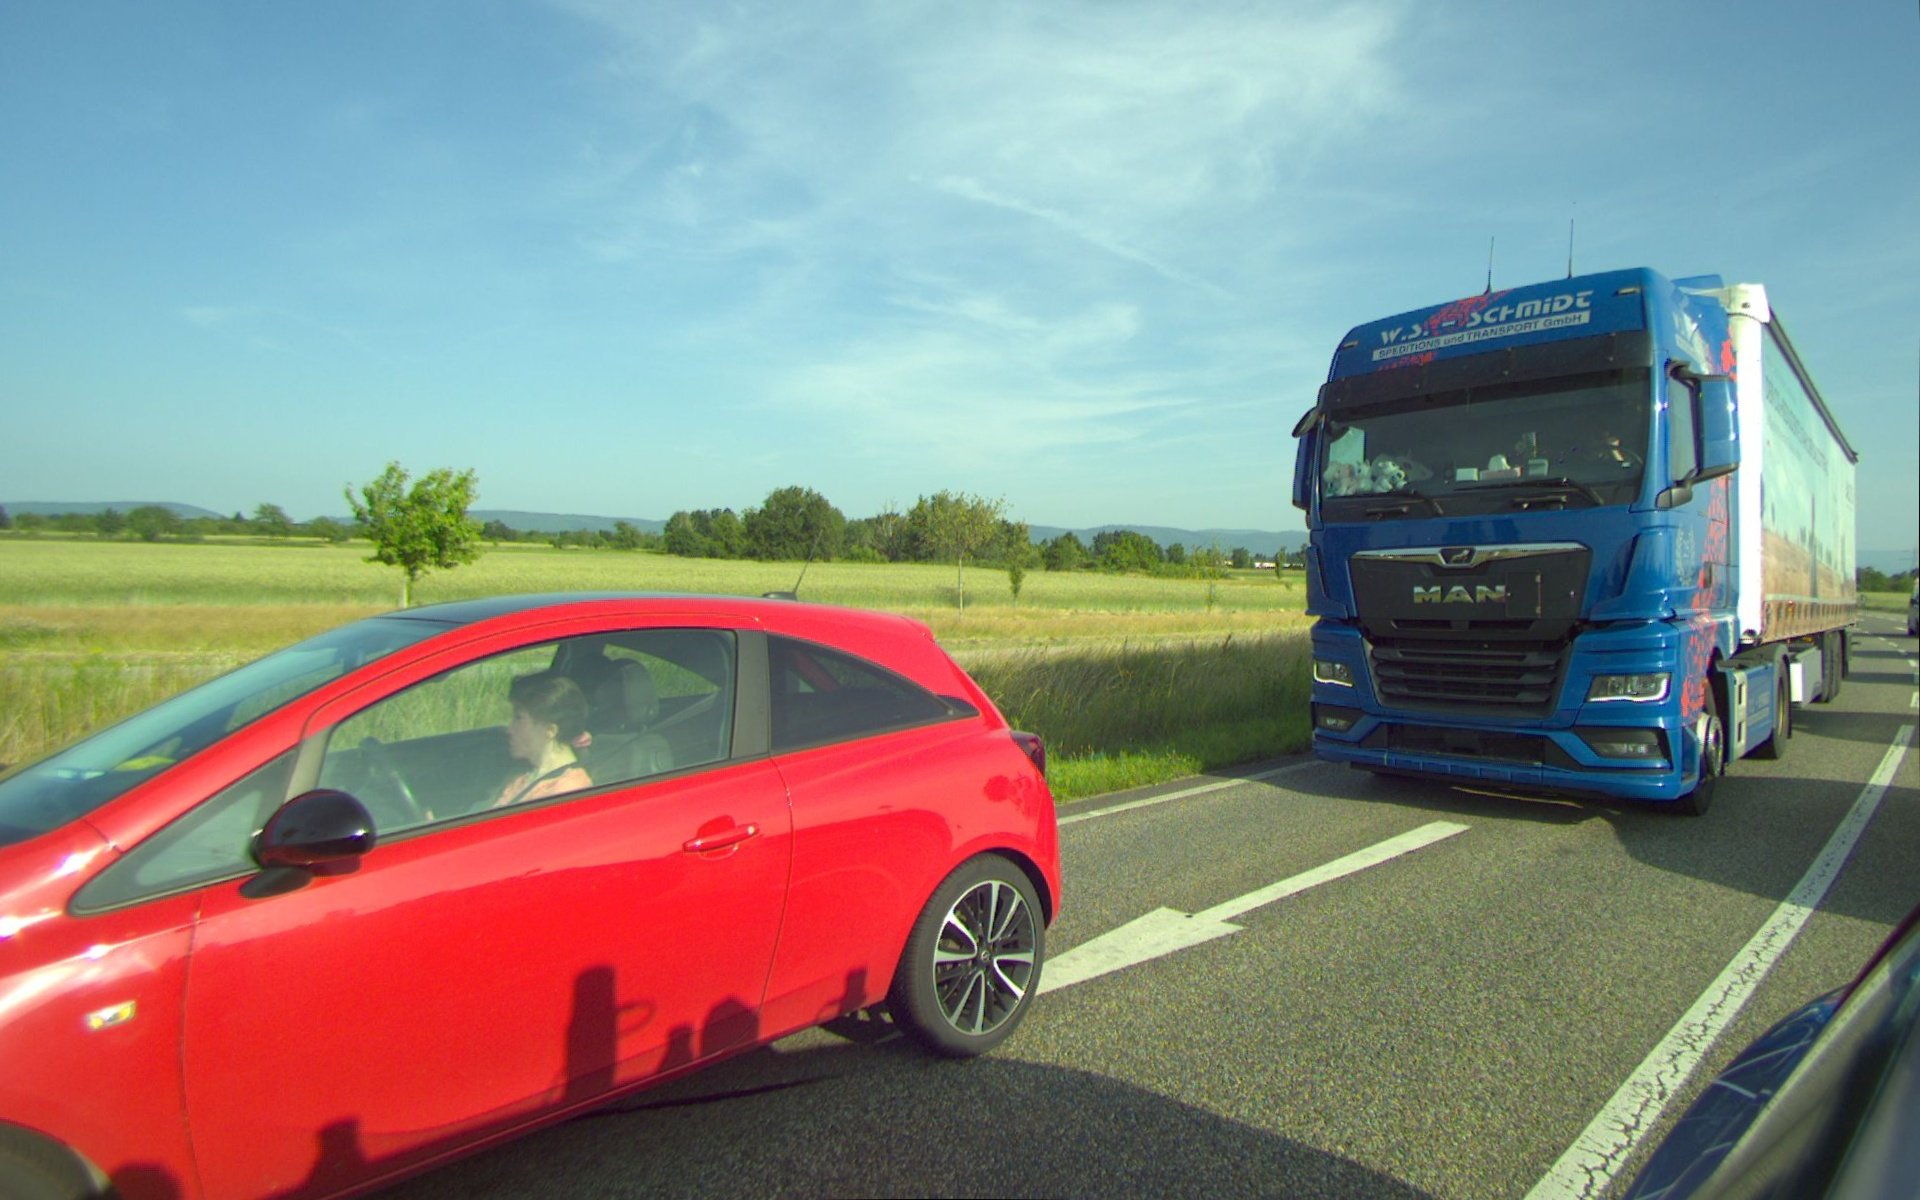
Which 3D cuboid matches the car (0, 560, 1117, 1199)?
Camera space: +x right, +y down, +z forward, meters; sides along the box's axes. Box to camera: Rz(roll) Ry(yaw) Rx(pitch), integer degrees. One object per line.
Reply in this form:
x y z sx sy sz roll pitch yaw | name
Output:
-1.401 0.658 2.893 3.890 1.482 1.662 0 1 -44 | car

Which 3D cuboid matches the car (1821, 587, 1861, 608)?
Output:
68.199 -0.222 78.388 1.989 1.553 3.947 1 1 37 | car

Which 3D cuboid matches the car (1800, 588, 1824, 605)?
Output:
82.688 -0.368 98.249 1.747 1.638 3.759 1 1 39 | car

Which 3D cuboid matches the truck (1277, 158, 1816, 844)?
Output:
5.429 -0.599 8.870 5.853 3.969 2.646 0 0 -45 | truck

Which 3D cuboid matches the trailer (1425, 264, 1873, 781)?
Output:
10.221 -0.649 13.723 2.645 4.029 13.707 0 0 44 | trailer
